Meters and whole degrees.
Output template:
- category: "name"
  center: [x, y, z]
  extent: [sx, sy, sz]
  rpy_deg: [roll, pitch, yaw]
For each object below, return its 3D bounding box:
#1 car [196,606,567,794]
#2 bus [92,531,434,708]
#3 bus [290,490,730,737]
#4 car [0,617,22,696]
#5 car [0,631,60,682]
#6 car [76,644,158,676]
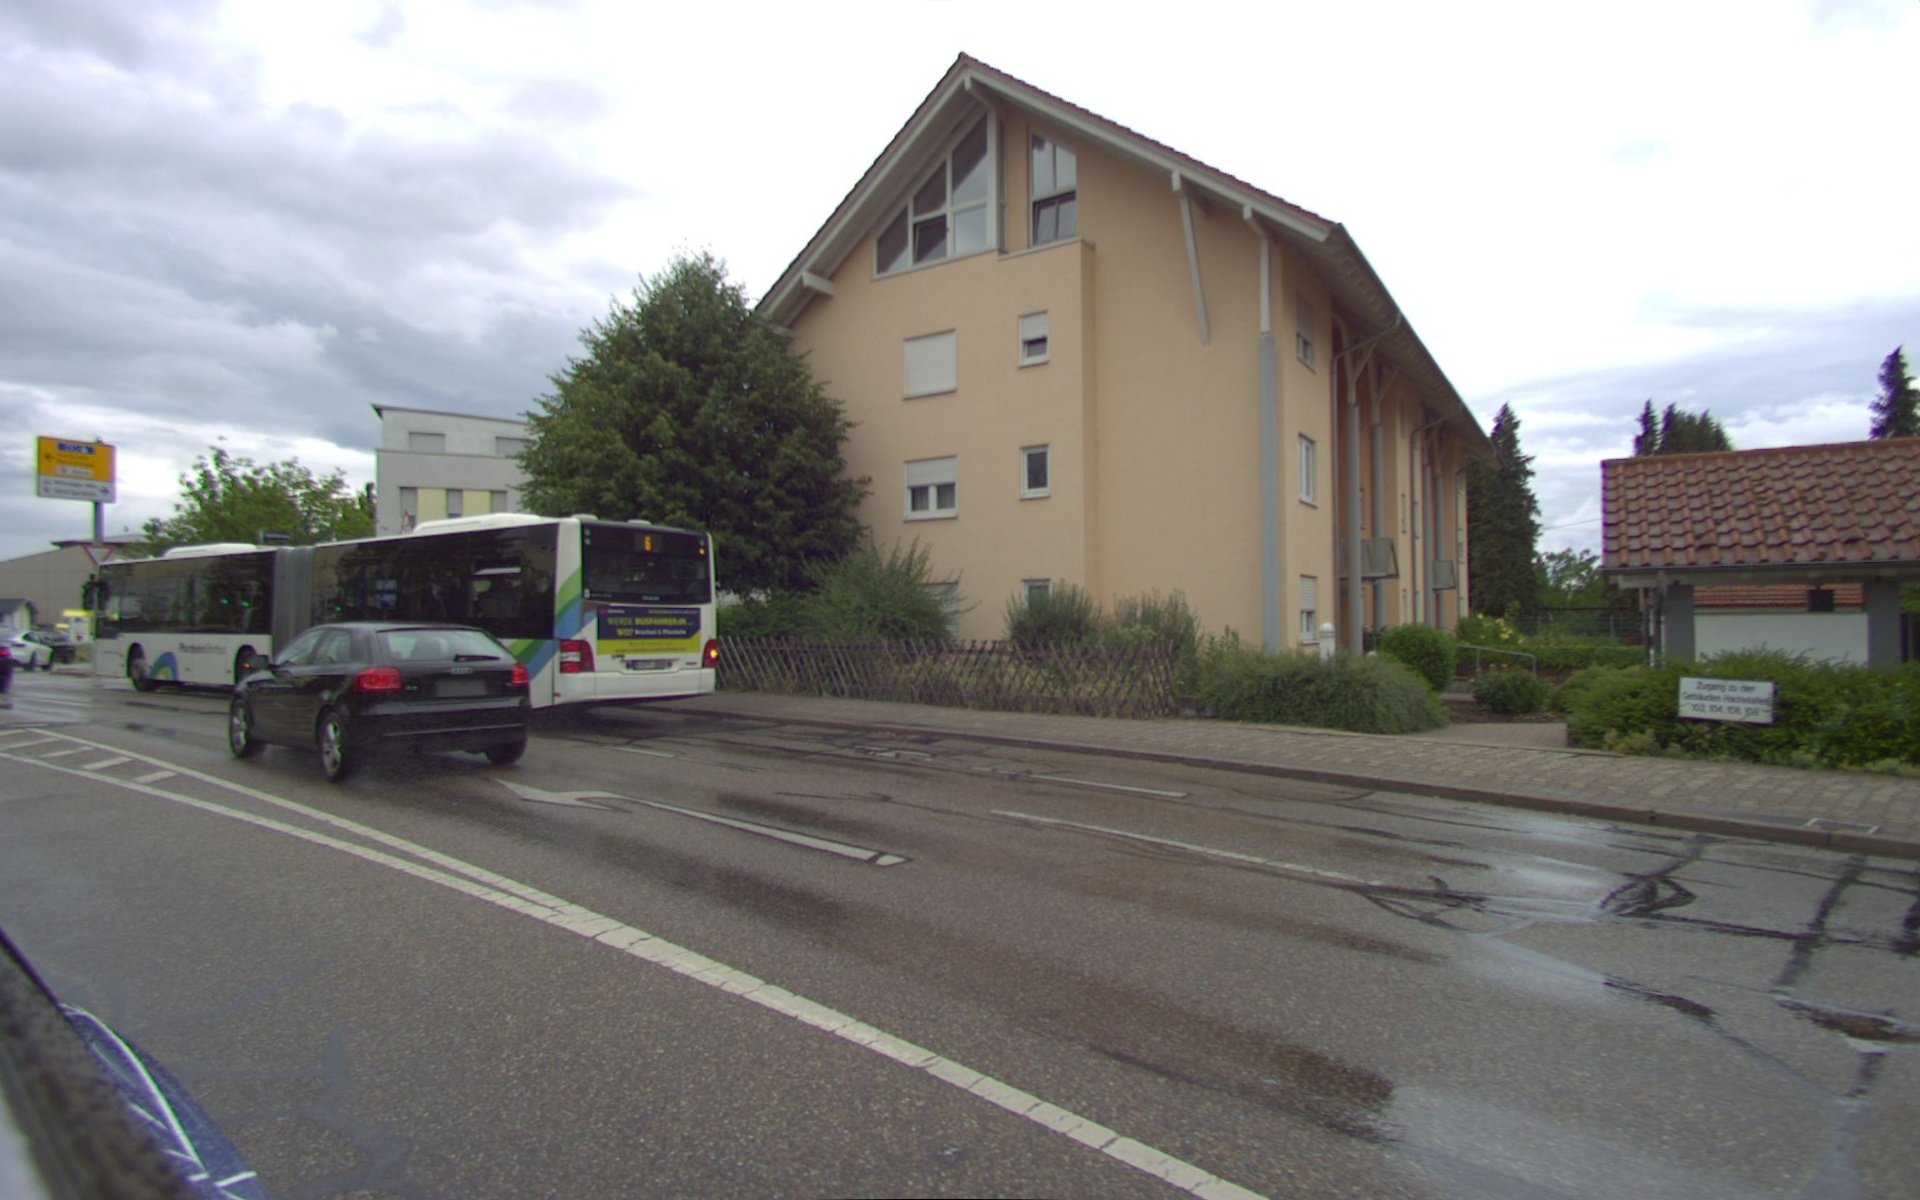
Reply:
- category: "car"
  center: [-6.033, 0.867, 10.356]
  extent: [4.287, 1.530, 1.842]
  rpy_deg: [-1, -2, 39]
- category: "bus"
  center: [-14.652, 0.466, 20.932]
  extent: [9.178, 3.023, 2.526]
  rpy_deg: [-1, -3, 34]
- category: "bus"
  center: [-7.397, 0.300, 15.922]
  extent: [8.391, 3.023, 2.561]
  rpy_deg: [-2, -3, 37]
- category: "car"
  center: [-21.473, 1.114, 21.212]
  extent: [4.168, 1.530, 1.932]
  rpy_deg: [1, -1, 37]
- category: "car"
  center: [-36.623, 2.154, 39.002]
  extent: [1.921, 1.738, 4.615]
  rpy_deg: [-1, 0, -29]
- category: "car"
  center: [-43.045, 3.036, 51.769]
  extent: [1.729, 1.446, 4.366]
  rpy_deg: [0, -2, -18]
